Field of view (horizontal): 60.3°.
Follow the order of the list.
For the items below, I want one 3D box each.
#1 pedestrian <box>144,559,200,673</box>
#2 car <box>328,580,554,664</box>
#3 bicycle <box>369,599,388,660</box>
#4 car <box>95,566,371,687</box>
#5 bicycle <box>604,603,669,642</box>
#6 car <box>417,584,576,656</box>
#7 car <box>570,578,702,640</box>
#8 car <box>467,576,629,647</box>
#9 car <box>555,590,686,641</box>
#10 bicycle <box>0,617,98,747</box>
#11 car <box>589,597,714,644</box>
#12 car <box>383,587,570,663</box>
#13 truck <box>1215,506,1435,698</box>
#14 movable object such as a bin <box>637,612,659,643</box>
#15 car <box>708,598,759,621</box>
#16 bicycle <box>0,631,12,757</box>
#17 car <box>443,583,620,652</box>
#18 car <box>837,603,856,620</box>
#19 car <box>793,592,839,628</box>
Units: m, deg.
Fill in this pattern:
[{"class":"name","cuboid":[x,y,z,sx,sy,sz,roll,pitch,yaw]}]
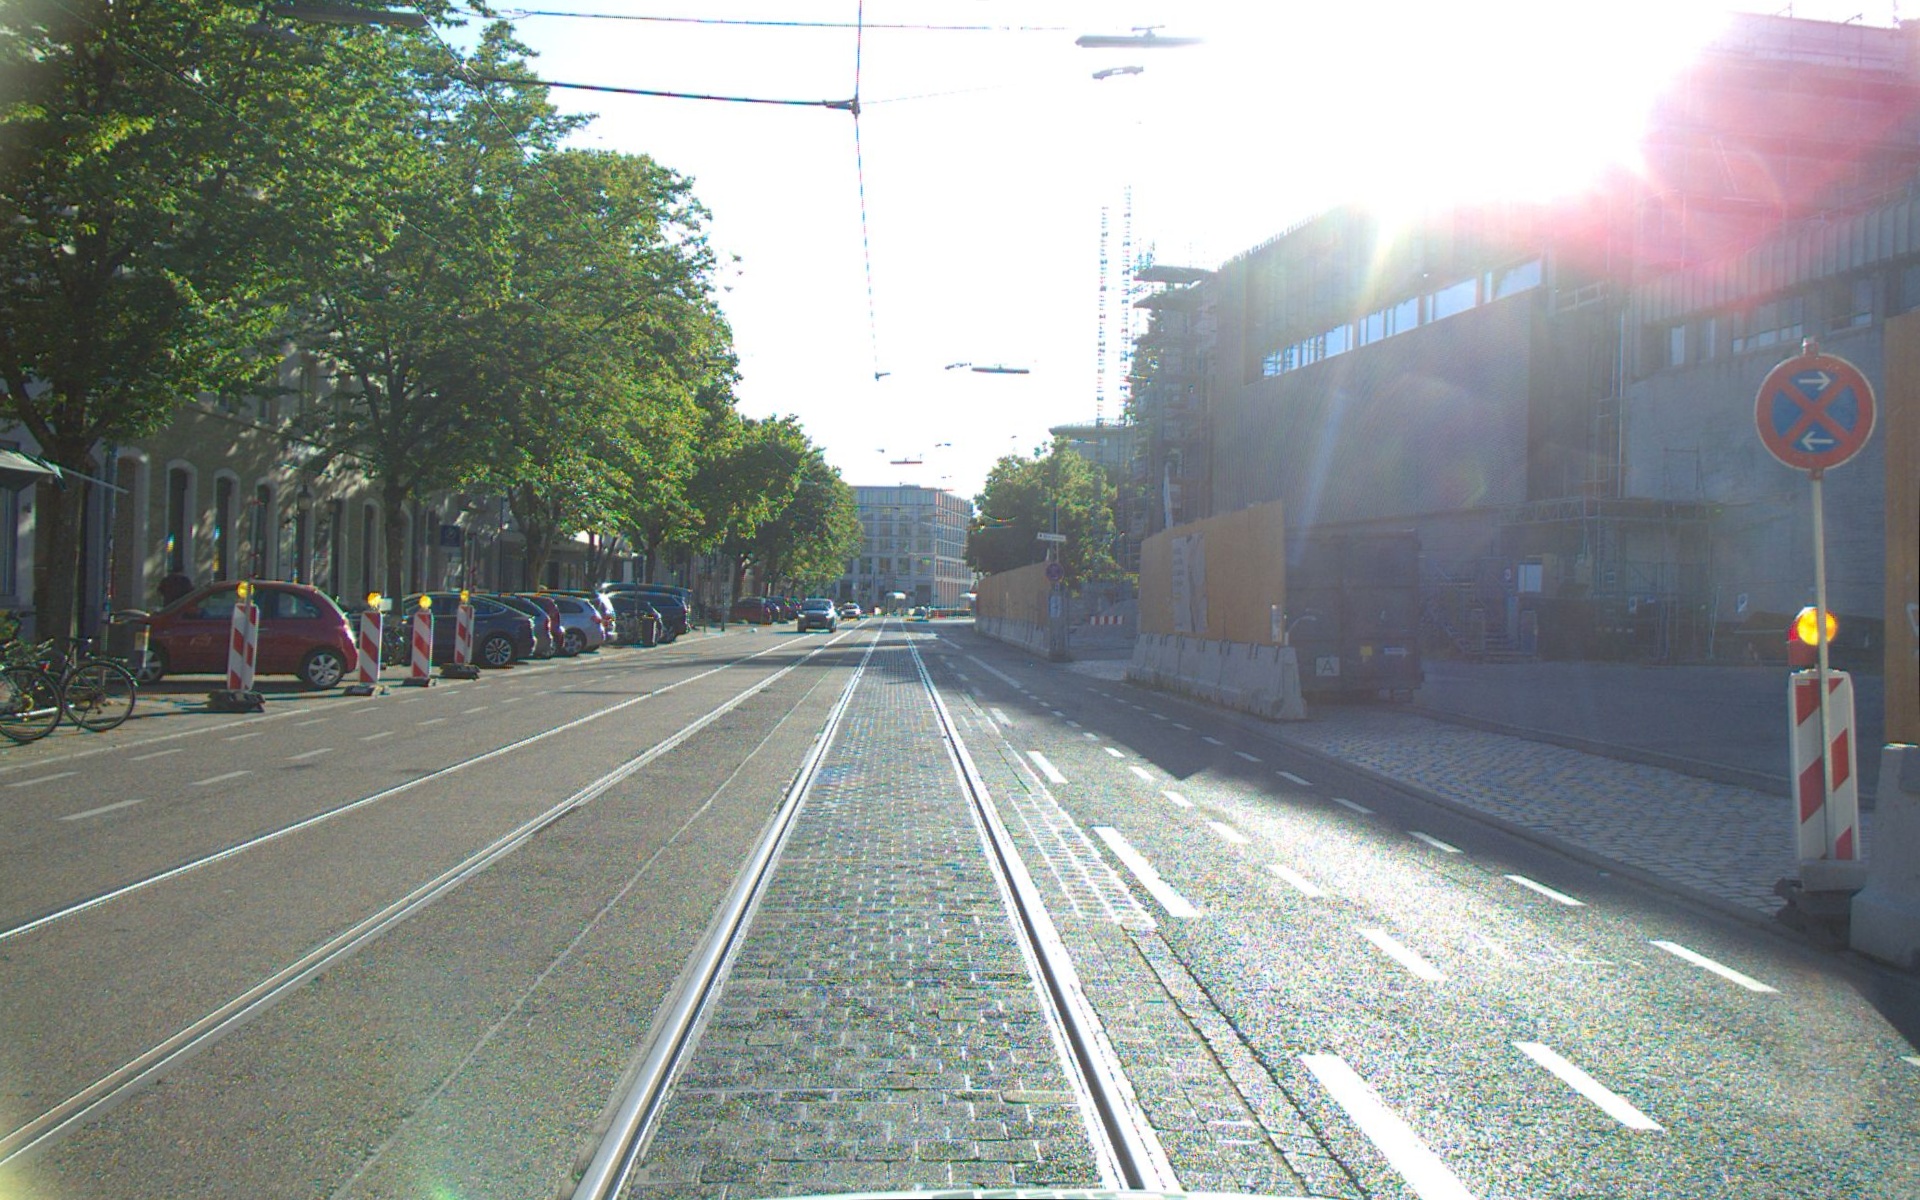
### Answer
[{"class":"pedestrian","cuboid":[-14.298,0.285,30.025,0.716,2.049,0.556,1,0,-1]},{"class":"car","cuboid":[-10.745,0.464,34.281,4.143,1.517,1.925,3,0,-30]},{"class":"bicycle","cuboid":[-11.102,0.549,31.562,0.327,1.115,1.585,0,0,-19]},{"class":"car","cuboid":[-10.758,0.395,24.506,3.573,1.580,1.653,3,1,-29]},{"class":"bicycle","cuboid":[-10.343,0.726,52.825,1.937,1.164,0.490,3,-1,-21]},{"class":"car","cuboid":[-11.112,0.475,39.677,3.328,1.519,1.597,3,0,-31]},{"class":"car","cuboid":[-11.696,0.328,59.652,4.297,2.021,1.935,3,-1,-24]},{"class":"car","cuboid":[-11.414,0.321,46.069,4.024,1.707,1.839,4,0,-5]},{"class":"car","cuboid":[-11.701,0.530,57.061,4.178,1.714,1.798,1,0,-24]},{"class":"bicycle","cuboid":[-9.320,0.715,15.613,1.962,1.106,0.567,5,0,0]},{"class":"car","cuboid":[-10.207,0.680,54.676,3.799,1.502,1.833,1,0,-21]},{"class":"car","cuboid":[-10.763,0.557,36.871,3.635,1.496,1.735,3,-1,-31]},{"class":"truck","cuboid":[6.198,0.031,28.887,2.468,2.960,5.506,-2,0,-1]},{"class":"movable object such as a bin","cuboid":[-9.841,0.864,52.159,0.566,0.929,0.572,3,0,-18]},{"class":"car","cuboid":[-13.952,0.589,101.984,2.903,1.355,1.203,0,0,-30]},{"class":"bicycle","cuboid":[-9.353,0.761,14.283,1.928,1.098,0.568,4,0,0]},{"class":"car","cuboid":[-11.039,0.456,42.622,4.058,1.539,1.824,3,0,-29]},{"class":"car","cuboid":[-10.108,1.052,147.337,1.675,1.461,4.168,1,0,-3]},{"class":"car","cuboid":[-7.183,0.462,82.968,1.888,1.658,4.249,-1,1,0]}]
